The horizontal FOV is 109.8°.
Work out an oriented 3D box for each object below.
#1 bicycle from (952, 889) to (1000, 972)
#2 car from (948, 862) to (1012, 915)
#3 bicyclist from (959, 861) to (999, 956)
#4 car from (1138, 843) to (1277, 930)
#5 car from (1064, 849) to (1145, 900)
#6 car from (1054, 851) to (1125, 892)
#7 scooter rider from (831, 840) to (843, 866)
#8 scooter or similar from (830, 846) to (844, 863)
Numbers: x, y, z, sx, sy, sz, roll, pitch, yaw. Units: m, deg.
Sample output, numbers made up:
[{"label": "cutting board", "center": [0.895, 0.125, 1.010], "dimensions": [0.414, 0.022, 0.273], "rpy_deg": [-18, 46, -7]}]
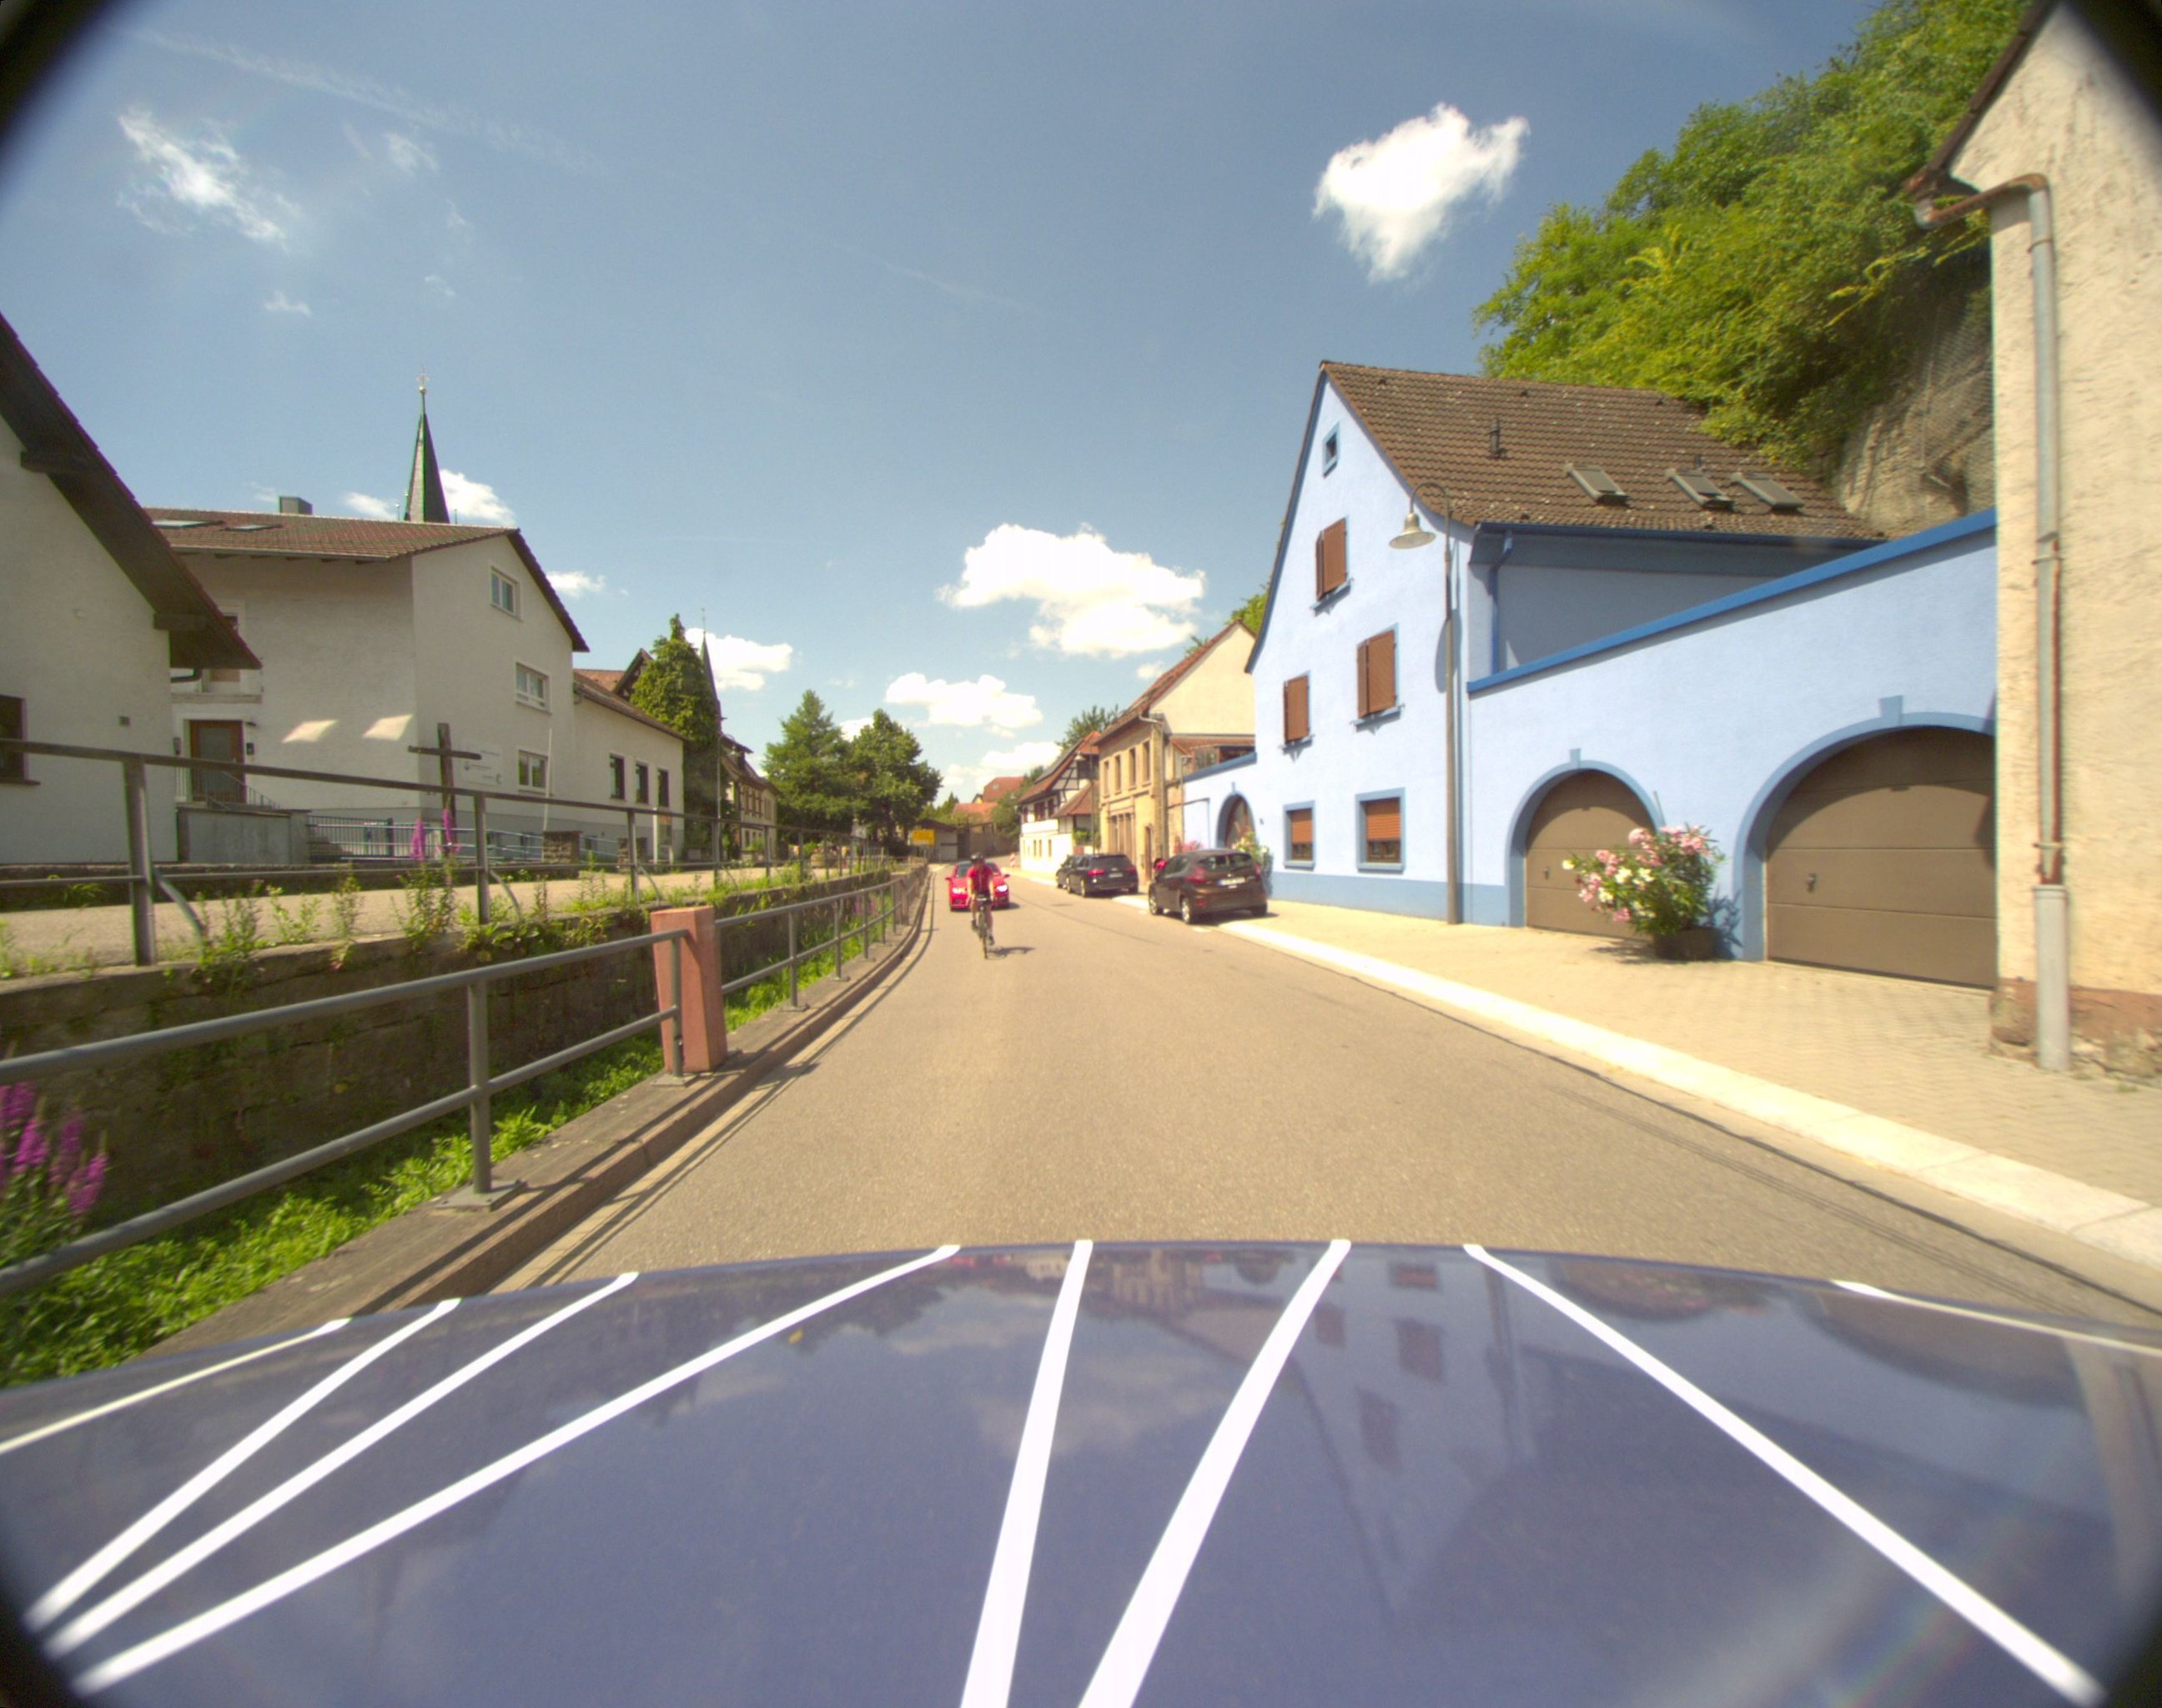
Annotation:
[{"label": "bicycle", "center": [-1.590, 1.123, 11.741], "dimensions": [0.531, 1.070, 2.053], "rpy_deg": [-1, 0, -3]}, {"label": "car", "center": [-3.020, 0.955, 22.408], "dimensions": [1.671, 1.344, 3.491], "rpy_deg": [-2, 1, -9]}, {"label": "bicyclist", "center": [-1.574, 0.821, 11.789], "dimensions": [0.532, 1.396, 0.755], "rpy_deg": [-1, 0, -3]}, {"label": "car", "center": [2.596, 0.636, 16.526], "dimensions": [1.722, 1.521, 3.853], "rpy_deg": [-5, 0, -9]}, {"label": "car", "center": [0.704, 0.661, 26.527], "dimensions": [1.891, 1.455, 4.664], "rpy_deg": [-5, 0, -9]}, {"label": "car", "center": [0.247, 0.654, 31.300], "dimensions": [1.963, 1.457, 4.540], "rpy_deg": [-2, 1, -12]}, {"label": "scooter rider", "center": [-16.562, -0.091, 51.505], "dimensions": [0.643, 1.722, 0.553], "rpy_deg": [-2, 2, -10]}, {"label": "scooter or similar", "center": [-16.594, 0.050, 51.637], "dimensions": [0.643, 1.135, 1.809], "rpy_deg": [0, 1, -10]}]
